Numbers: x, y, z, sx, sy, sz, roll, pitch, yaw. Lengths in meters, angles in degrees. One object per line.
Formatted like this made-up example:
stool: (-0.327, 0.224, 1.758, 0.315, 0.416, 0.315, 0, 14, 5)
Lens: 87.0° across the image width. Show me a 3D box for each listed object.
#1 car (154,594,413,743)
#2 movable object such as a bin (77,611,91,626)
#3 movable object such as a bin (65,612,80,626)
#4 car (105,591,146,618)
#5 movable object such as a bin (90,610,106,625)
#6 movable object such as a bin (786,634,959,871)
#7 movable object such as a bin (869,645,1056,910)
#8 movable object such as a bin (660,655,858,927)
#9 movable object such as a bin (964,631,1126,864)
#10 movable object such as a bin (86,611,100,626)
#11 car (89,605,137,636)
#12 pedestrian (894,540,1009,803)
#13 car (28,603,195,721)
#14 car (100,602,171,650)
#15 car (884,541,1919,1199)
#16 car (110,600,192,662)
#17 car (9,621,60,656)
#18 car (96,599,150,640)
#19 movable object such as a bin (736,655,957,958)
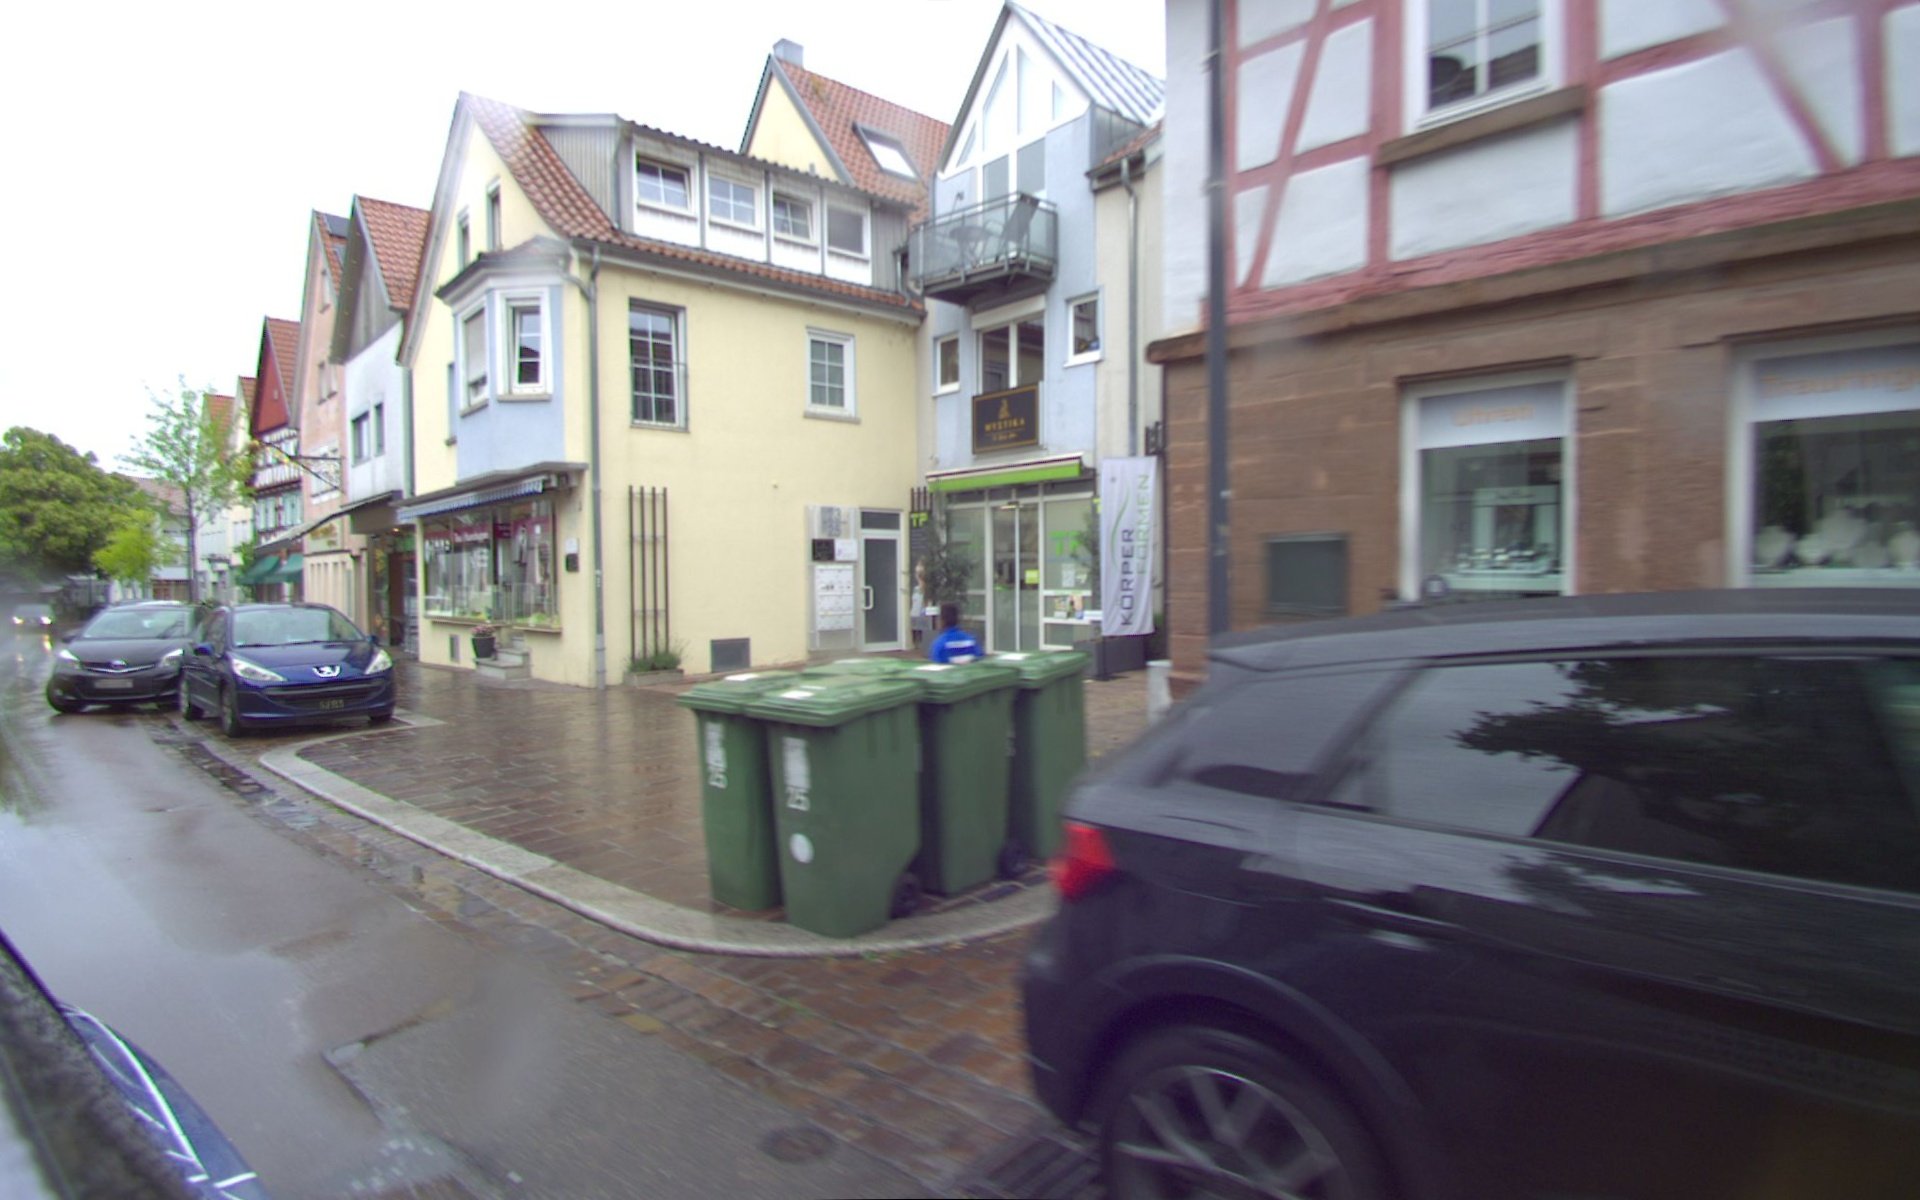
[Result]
car: (-8.460, 0.753, 12.521, 3.943, 1.485, 1.738, -2, 1, 42)
movable object such as a bin: (-67.642, 1.448, 78.130, 0.531, 1.139, 0.729, 1, 0, -11)
movable object such as a bin: (-68.451, 1.468, 78.074, 0.531, 1.091, 0.729, 1, -1, -10)
car: (-53.114, 0.286, 64.451, 1.838, 1.536, 4.336, -4, 2, -39)
movable object such as a bin: (-66.579, 1.344, 78.205, 0.715, 1.091, 0.607, -1, 2, -17)
movable object such as a bin: (-0.468, 0.775, 5.509, 0.596, 1.118, 0.718, 1, 3, 42)
movable object such as a bin: (0.021, 0.819, 5.012, 0.596, 1.118, 0.718, 1, 3, 42)
movable object such as a bin: (-0.968, 0.867, 4.921, 0.596, 1.118, 0.718, 1, 3, 42)
movable object such as a bin: (0.471, 0.763, 5.562, 0.615, 1.118, 0.653, 1, 3, 42)
movable object such as a bin: (-67.015, 1.448, 78.239, 0.531, 1.151, 0.729, 0, 0, -10)
car: (-46.174, 1.100, 55.248, 1.838, 1.536, 4.336, -4, 2, -39)
pedestrian: (-0.056, 0.454, 6.985, 0.578, 1.723, 0.513, 1, 3, 42)
car: (-12.610, 0.839, 15.110, 1.671, 1.454, 3.891, -3, 1, -40)
car: (-29.929, 0.930, 36.685, 1.758, 1.549, 4.295, -4, 1, -42)
car: (1.970, 0.637, 1.888, 3.992, 1.506, 1.772, -1, 1, 36)
car: (-22.961, 0.859, 28.749, 1.670, 1.549, 4.128, -3, 1, -39)
car: (-46.159, 1.887, 50.551, 1.758, 1.549, 4.295, -4, 1, -42)
car: (-38.873, 0.855, 47.036, 1.801, 1.678, 4.651, -3, 3, -39)
movable object such as a bin: (-0.496, 0.848, 4.491, 0.645, 1.118, 0.718, 1, 3, 42)
